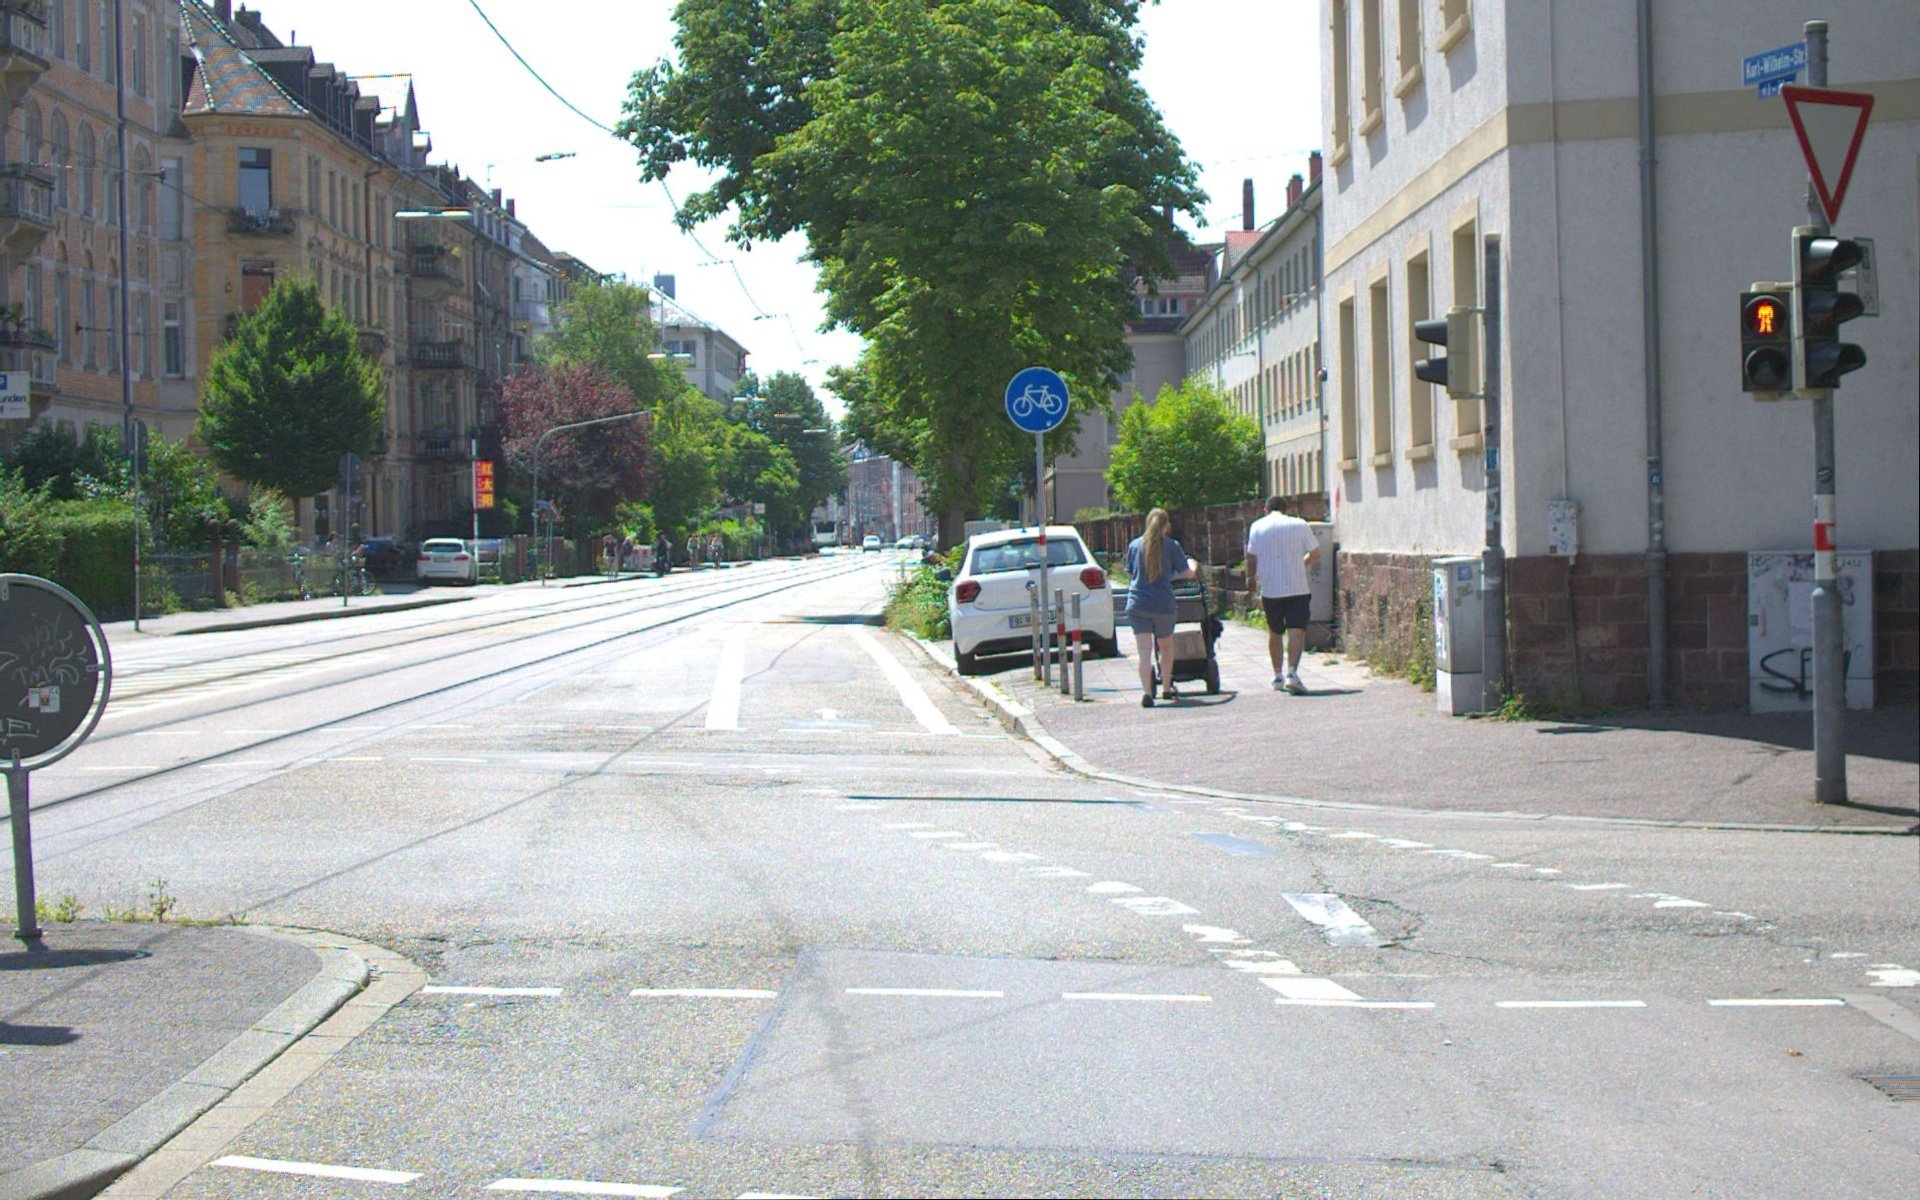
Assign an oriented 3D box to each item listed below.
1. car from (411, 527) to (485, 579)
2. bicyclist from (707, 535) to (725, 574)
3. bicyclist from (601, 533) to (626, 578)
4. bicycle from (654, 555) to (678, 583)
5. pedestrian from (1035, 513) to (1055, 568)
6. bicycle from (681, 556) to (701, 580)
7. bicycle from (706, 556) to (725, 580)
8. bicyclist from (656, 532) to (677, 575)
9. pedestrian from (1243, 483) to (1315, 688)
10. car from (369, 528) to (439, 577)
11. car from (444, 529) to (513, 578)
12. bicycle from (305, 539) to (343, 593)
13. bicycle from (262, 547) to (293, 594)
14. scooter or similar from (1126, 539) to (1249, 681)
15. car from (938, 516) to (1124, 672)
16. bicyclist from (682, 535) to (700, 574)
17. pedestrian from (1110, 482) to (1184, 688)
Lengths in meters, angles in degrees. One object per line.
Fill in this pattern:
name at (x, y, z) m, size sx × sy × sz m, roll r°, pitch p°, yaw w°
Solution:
car at (-17.184, -1.570, 115.574) m, size 1.919 × 1.709 × 4.000 m, roll 1°, pitch 1°, yaw -1°
bicyclist at (-11.561, -2.156, 162.668) m, size 0.727 × 1.812 × 1.079 m, roll 1°, pitch 0°, yaw 1°
bicyclist at (-12.531, -1.612, 124.344) m, size 0.727 × 1.623 × 1.079 m, roll 1°, pitch 0°, yaw 1°
bicycle at (-12.077, -1.278, 141.358) m, size 0.727 × 1.119 × 2.085 m, roll 1°, pitch 1°, yaw 1°
pedestrian at (2.468, -1.721, 99.469) m, size 0.521 × 1.557 × 0.573 m, roll -1°, pitch 1°, yaw -1°
bicycle at (-12.738, -1.498, 162.701) m, size 0.727 × 1.119 × 2.085 m, roll 1°, pitch 1°, yaw 1°
bicycle at (-11.567, -1.513, 162.759) m, size 0.727 × 1.119 × 2.085 m, roll 1°, pitch 1°, yaw 1°
bicyclist at (-12.074, -1.900, 141.289) m, size 0.727 × 1.762 × 1.079 m, roll 1°, pitch 0°, yaw 1°
pedestrian at (2.596, -0.120, 27.995) m, size 0.557 × 1.640 × 0.677 m, roll 1°, pitch 0°, yaw 5°
car at (-20.014, -1.693, 123.911) m, size 1.919 × 1.709 × 4.000 m, roll 1°, pitch 1°, yaw -1°
car at (-17.328, -1.655, 123.838) m, size 1.919 × 1.709 × 4.000 m, roll 1°, pitch 1°, yaw -1°
bicycle at (-15.658, -0.844, 84.677) m, size 0.677 × 1.274 × 1.919 m, roll -1°, pitch 1°, yaw -3°
bicycle at (-15.901, -0.694, 80.034) m, size 0.677 × 1.061 × 1.919 m, roll -1°, pitch 1°, yaw -11°
scooter or similar at (1.909, 0.080, 28.729) m, size 0.557 × 1.151 × 1.203 m, roll 1°, pitch 1°, yaw 29°
car at (0.721, -0.080, 37.327) m, size 1.815 × 1.511 × 4.000 m, roll -3°, pitch 1°, yaw -1°
bicyclist at (-12.715, -2.165, 162.745) m, size 0.727 × 1.812 × 1.079 m, roll 1°, pitch 0°, yaw 1°
pedestrian at (1.515, -0.124, 27.866) m, size 0.557 × 1.640 × 0.677 m, roll 1°, pitch 0°, yaw 5°
